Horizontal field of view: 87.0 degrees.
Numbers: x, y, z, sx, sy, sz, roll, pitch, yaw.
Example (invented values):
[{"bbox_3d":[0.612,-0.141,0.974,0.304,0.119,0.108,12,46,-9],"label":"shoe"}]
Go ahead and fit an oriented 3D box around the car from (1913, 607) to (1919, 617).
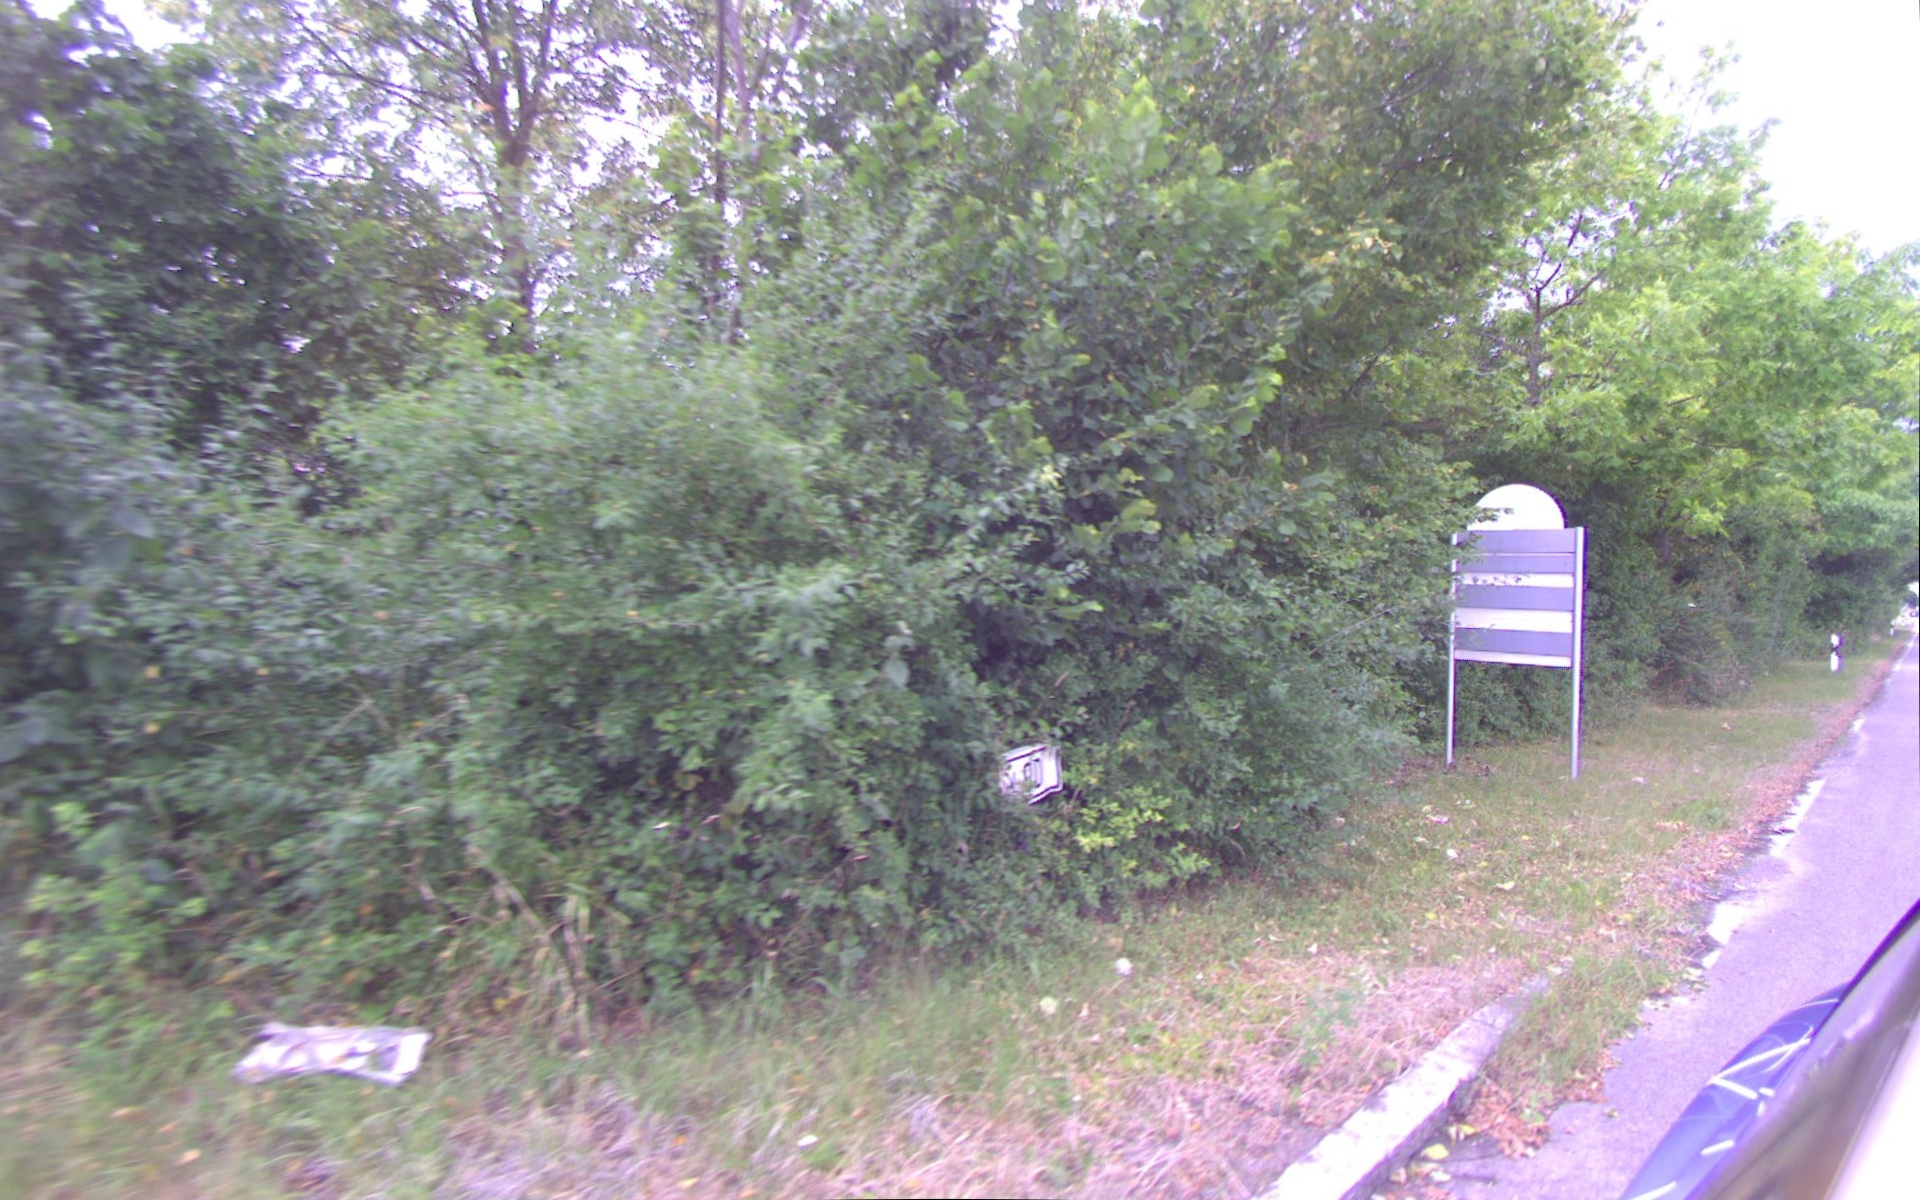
[{"bbox_3d":[157.592,1.995,165.993,1.774,1.432,4.015,4,2,44],"label":"car"}]
